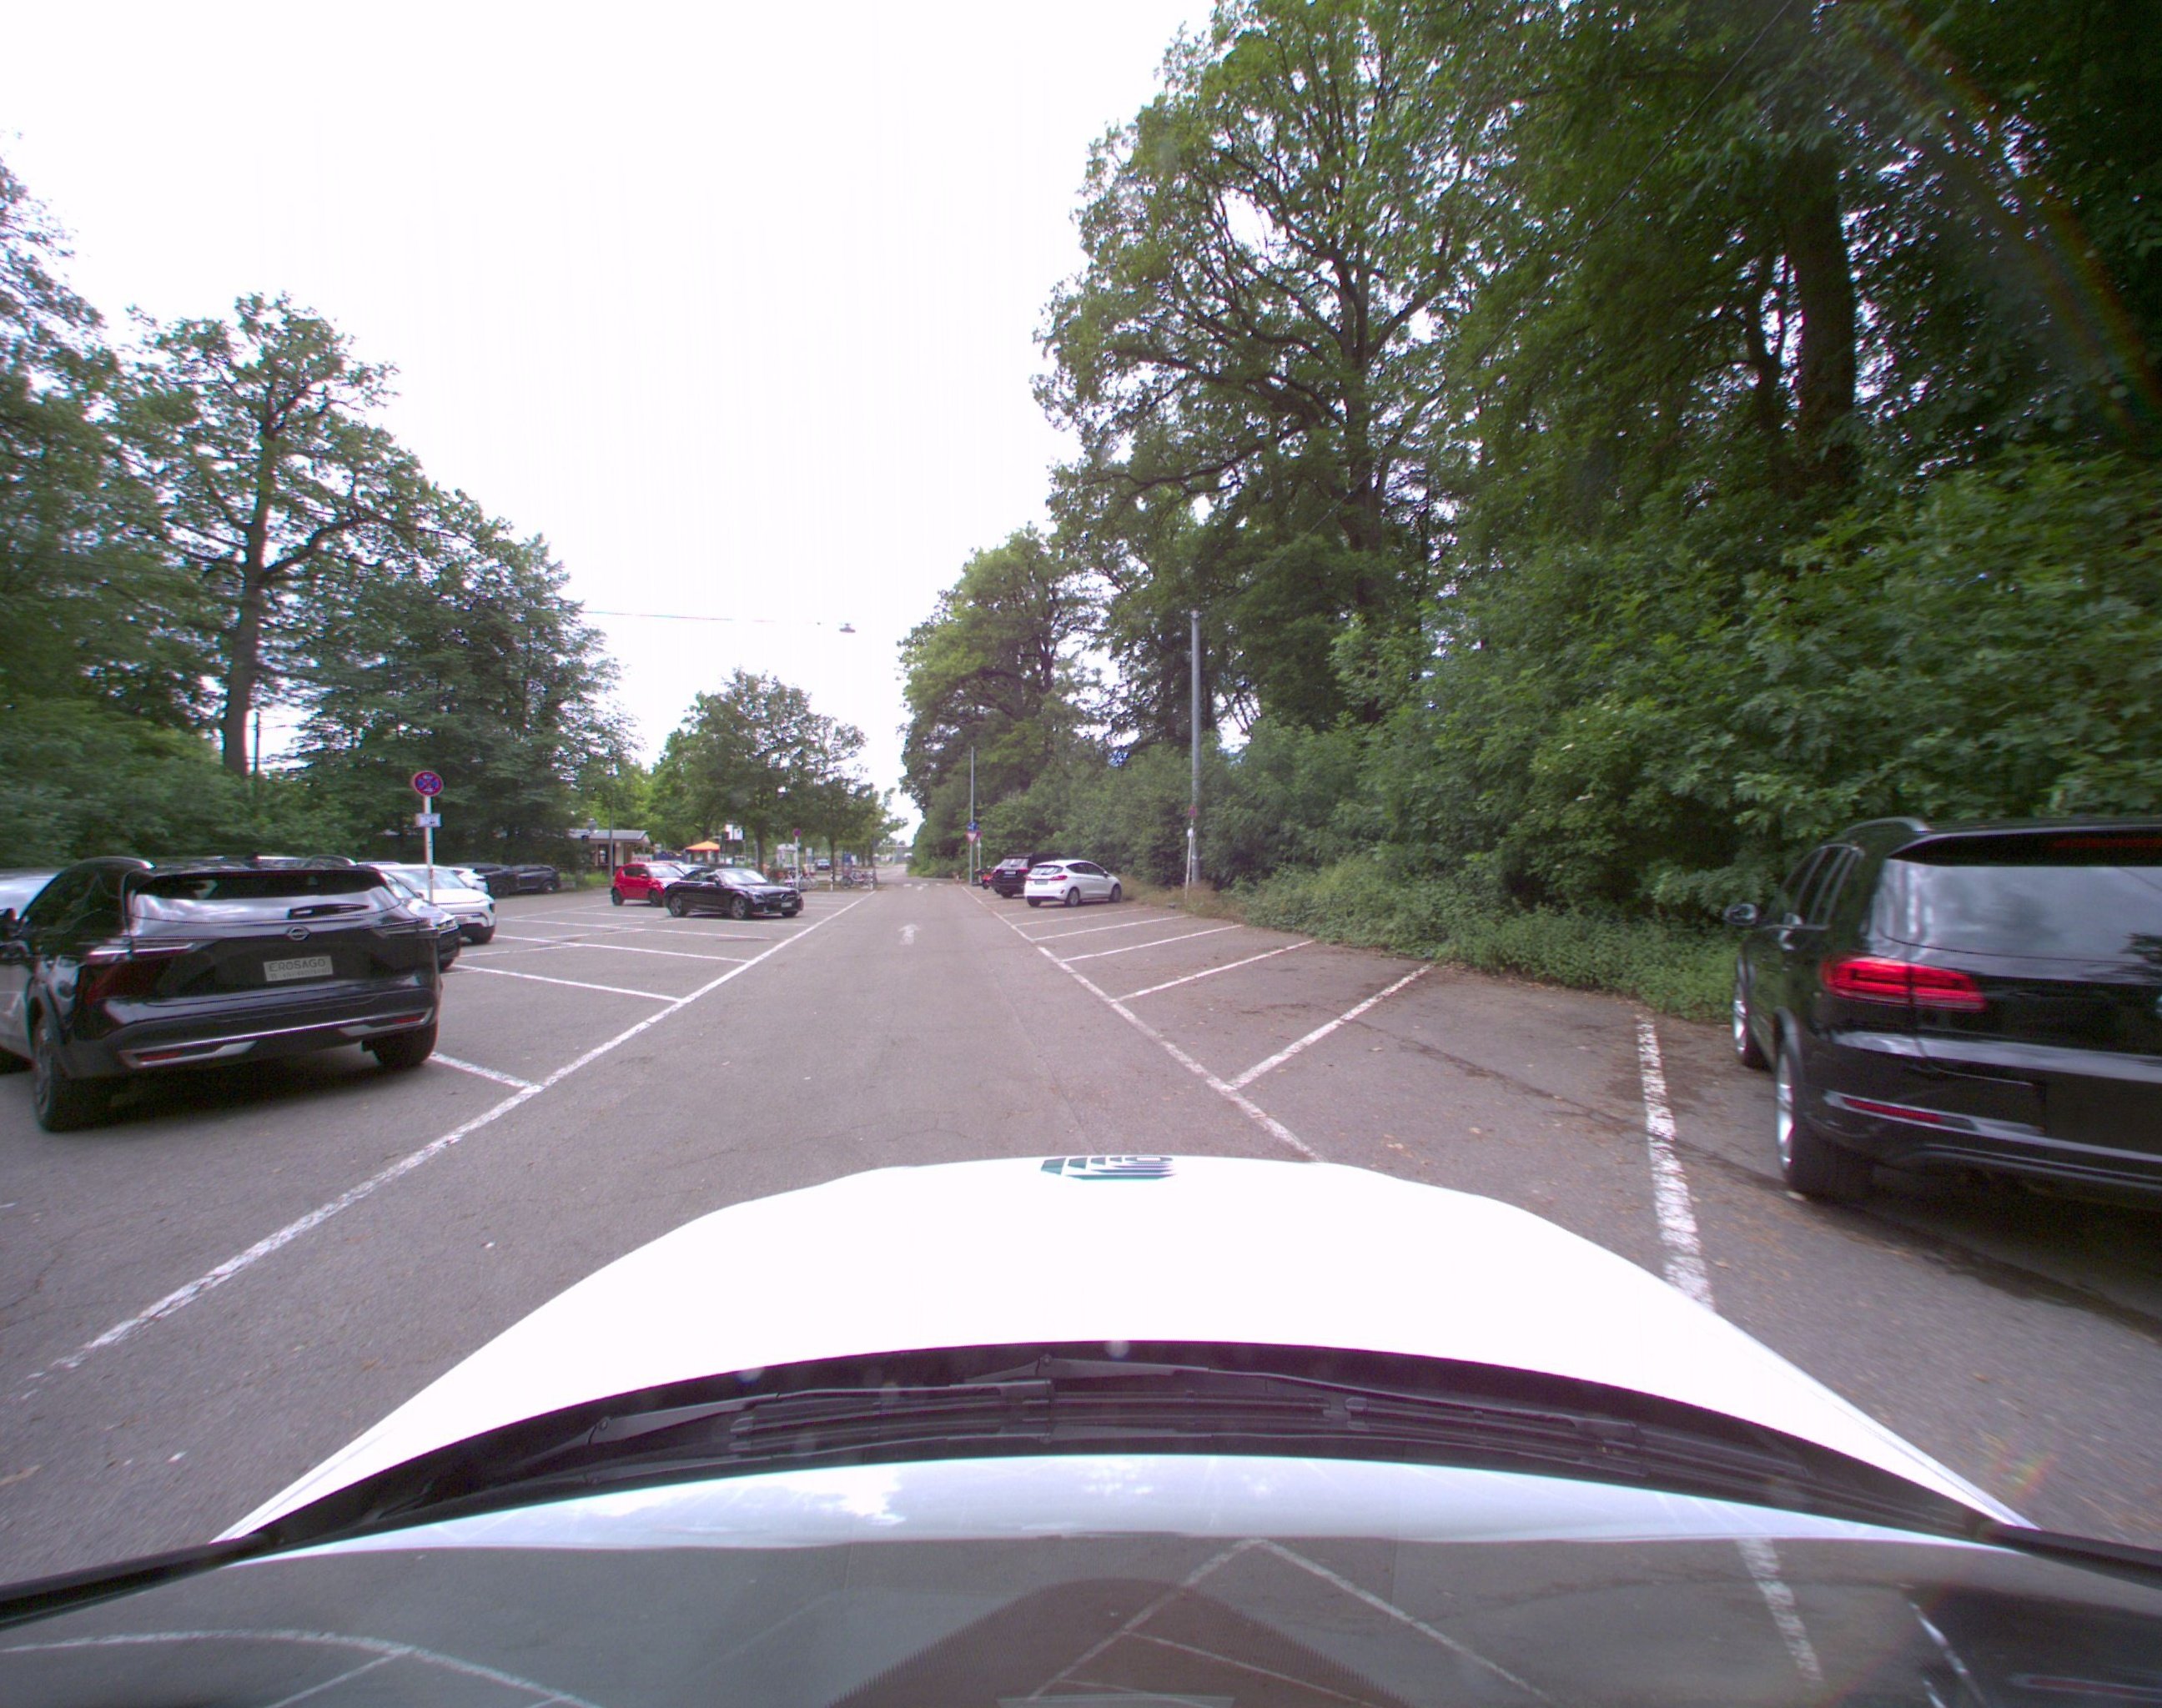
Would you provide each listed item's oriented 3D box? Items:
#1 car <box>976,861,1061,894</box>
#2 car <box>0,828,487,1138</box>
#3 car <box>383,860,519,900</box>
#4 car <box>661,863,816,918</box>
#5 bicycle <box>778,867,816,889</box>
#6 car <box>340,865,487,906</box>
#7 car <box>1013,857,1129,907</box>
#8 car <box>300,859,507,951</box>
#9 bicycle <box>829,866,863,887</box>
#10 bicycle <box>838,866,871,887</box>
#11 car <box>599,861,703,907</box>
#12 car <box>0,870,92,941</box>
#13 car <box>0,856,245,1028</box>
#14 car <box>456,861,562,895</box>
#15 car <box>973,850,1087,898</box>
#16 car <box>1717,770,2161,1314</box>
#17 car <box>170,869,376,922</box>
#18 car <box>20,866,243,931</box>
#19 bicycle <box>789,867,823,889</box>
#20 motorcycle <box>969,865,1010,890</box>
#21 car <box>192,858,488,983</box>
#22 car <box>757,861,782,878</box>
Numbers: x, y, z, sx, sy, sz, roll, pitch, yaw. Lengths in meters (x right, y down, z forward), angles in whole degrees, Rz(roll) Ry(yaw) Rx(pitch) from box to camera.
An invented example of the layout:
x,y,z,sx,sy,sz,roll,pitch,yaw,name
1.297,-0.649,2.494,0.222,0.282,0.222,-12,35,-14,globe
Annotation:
x,y,z,sx,sy,sz,roll,pitch,yaw,name
-2.778,1.034,36.991,1.717,1.376,4.025,-1,0,34,car
-6.563,0.715,6.215,3.948,1.663,1.911,-1,-1,31,car
-27.104,1.056,35.163,1.932,1.580,4.230,-1,0,32,car
-9.728,0.983,23.080,4.261,1.442,1.881,-1,-1,30,car
-14.733,1.231,42.252,1.782,1.111,0.481,-1,0,-9,bicycle
-26.226,1.194,32.111,1.845,1.438,4.146,-1,0,37,car
-0.254,0.860,26.852,1.845,1.510,4.025,-1,-1,34,car
-13.351,0.912,16.008,4.136,1.596,1.858,-1,-1,31,car
-12.718,1.233,44.161,1.677,1.111,0.505,-1,0,-6,bicycle
-12.547,1.238,45.196,1.688,1.111,0.482,-1,0,-4,bicycle
-15.727,1.056,29.745,3.607,1.585,1.697,-1,-1,30,car
-23.952,1.097,16.890,1.781,1.457,4.213,-1,-1,34,car
-11.300,0.854,9.188,3.925,1.587,1.859,-1,-1,33,car
-27.615,1.120,39.426,1.678,1.492,3.816,-1,0,33,car
-1.954,0.770,32.616,2.085,1.767,4.738,-1,-1,34,car
4.547,0.580,4.187,1.761,1.685,4.097,-1,-1,35,car
-24.837,1.201,25.180,1.903,1.414,4.323,-1,0,38,car
-24.447,1.067,21.079,1.712,1.505,3.605,-1,-1,36,car
-14.730,1.276,43.649,1.679,1.111,0.481,-1,0,-9,bicycle
-4.590,1.162,41.074,0.721,1.207,2.041,-1,0,44,motorcycle
-10.811,0.861,11.874,3.950,1.554,1.884,-1,-1,27,car
-30.469,1.501,79.607,1.940,1.669,4.307,0,-1,-27,car
